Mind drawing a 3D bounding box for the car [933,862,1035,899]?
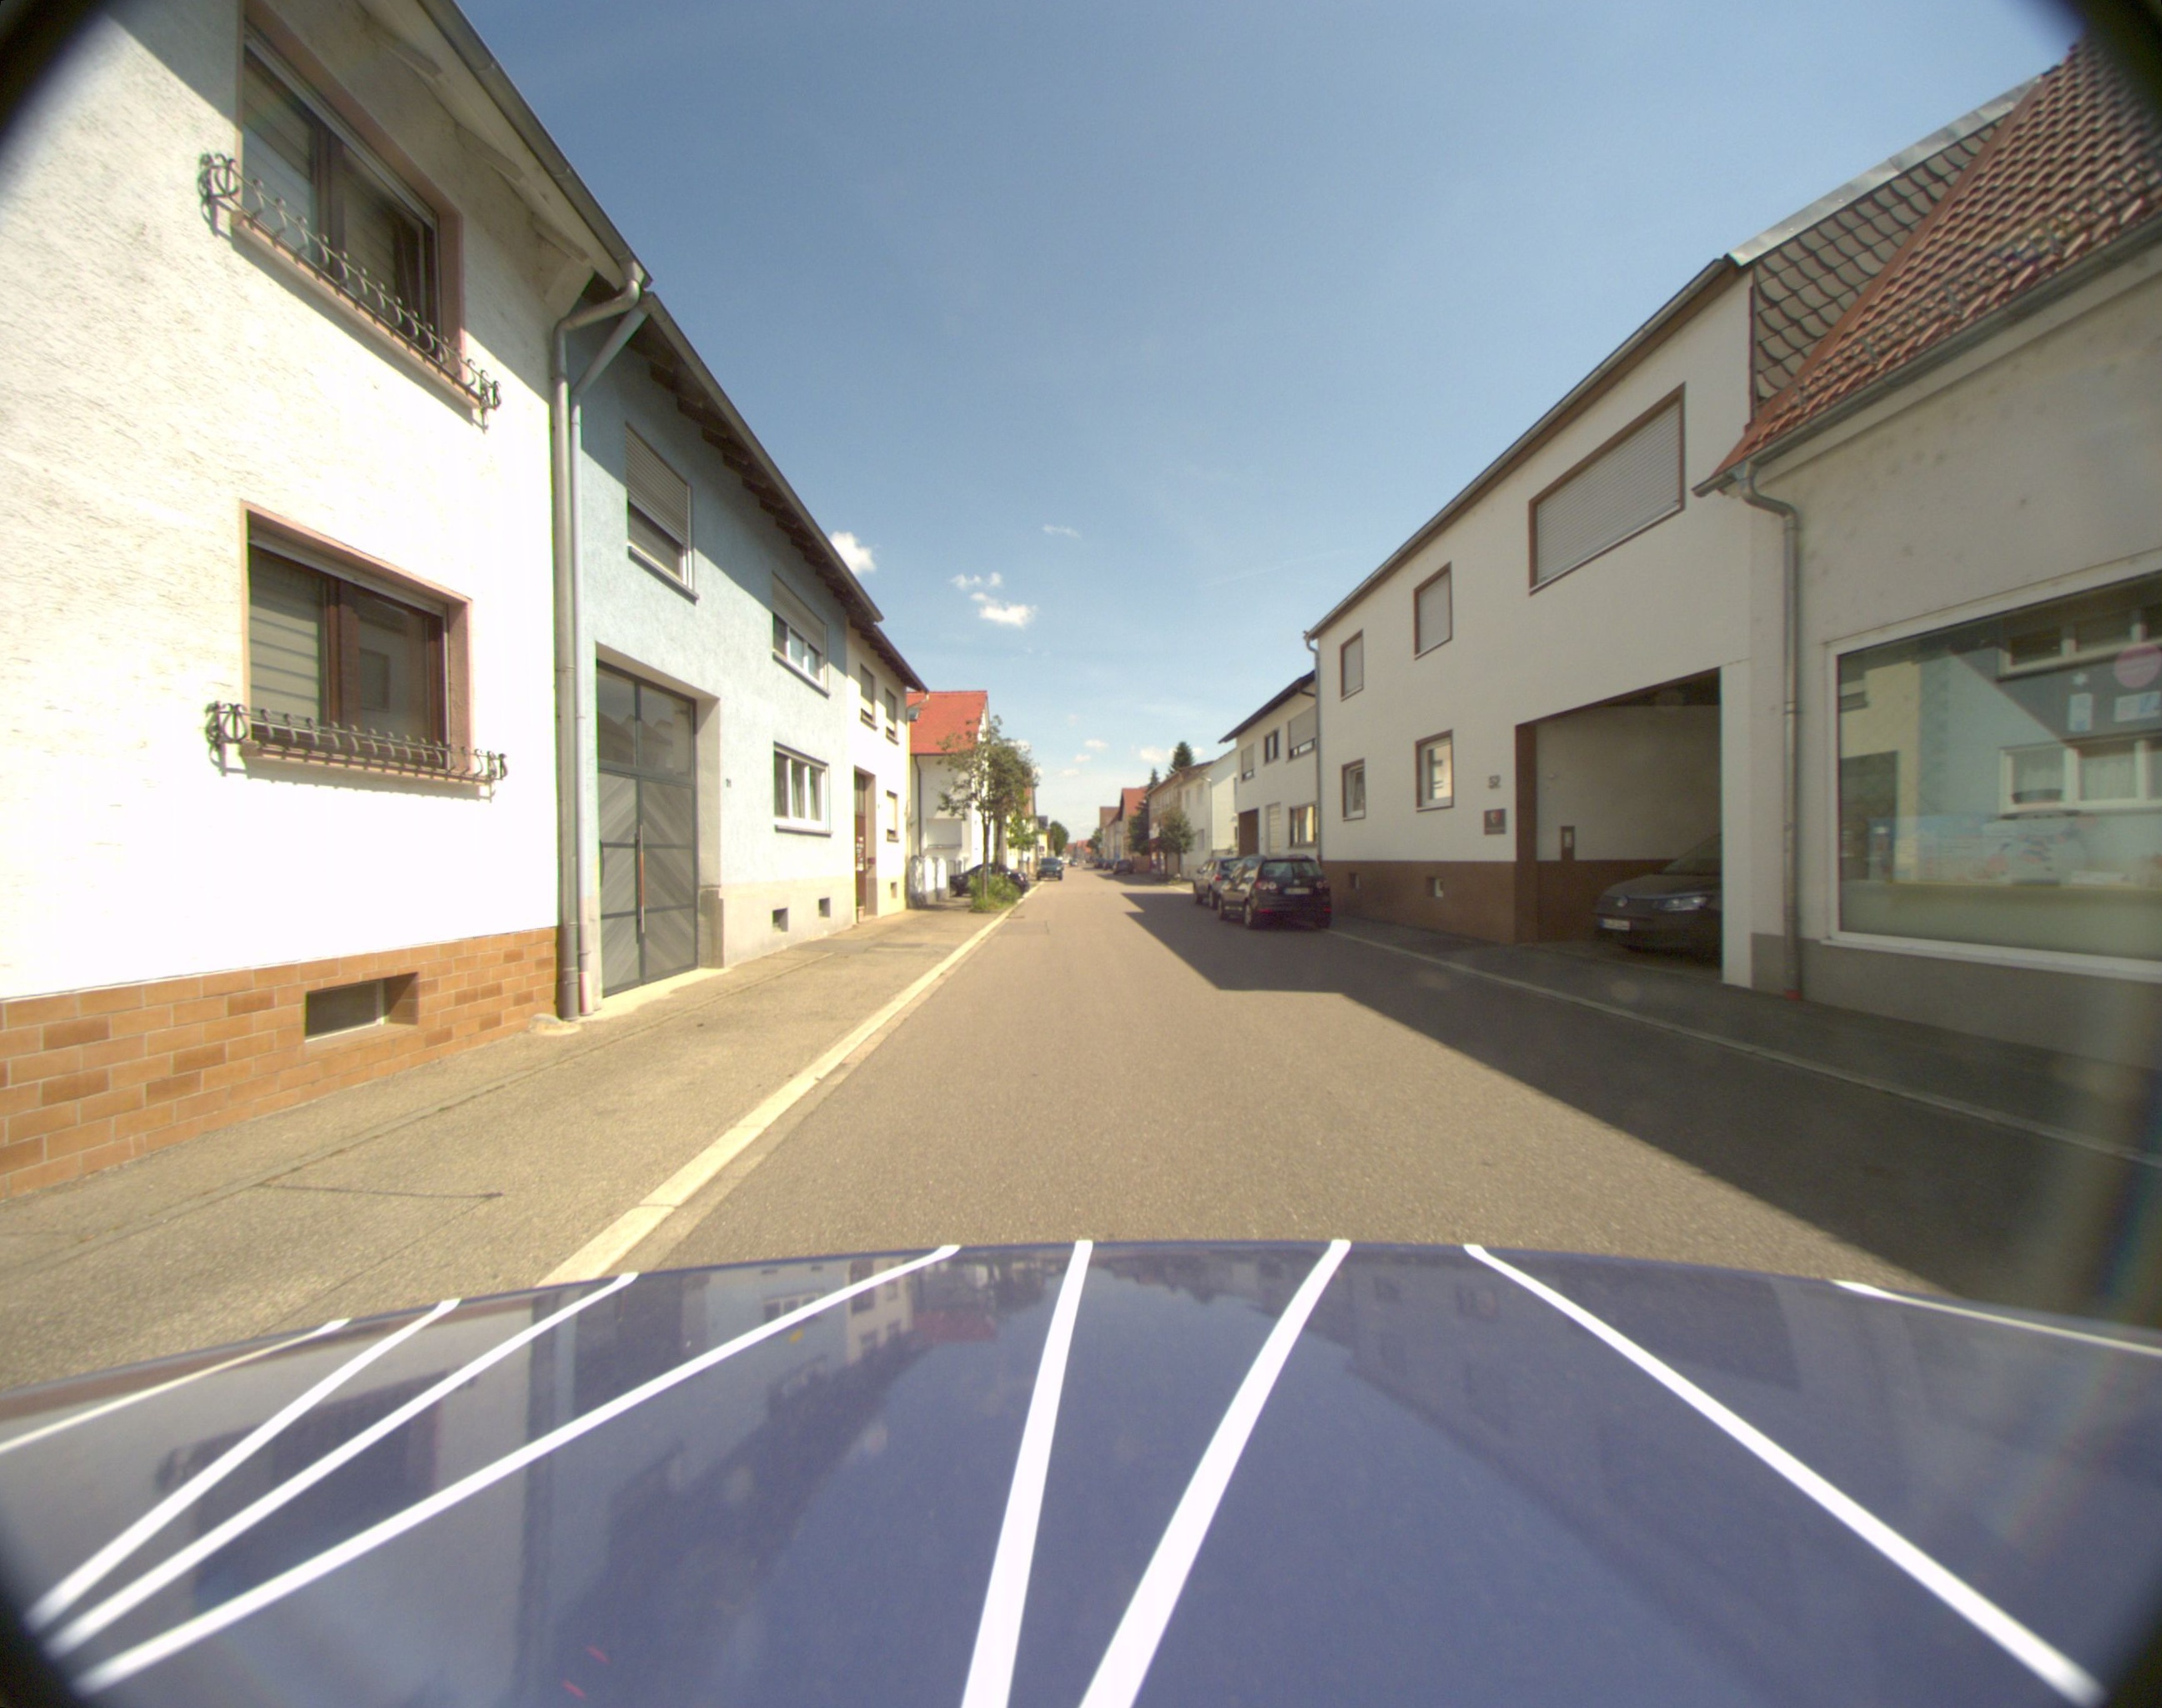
[{"bbox_3d":[-3.856,1.056,30.562,3.814,1.420,1.728,-1,0,3],"label":"car"}]

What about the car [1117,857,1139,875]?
[{"bbox_3d":[4.535,1.147,73.223,1.852,1.688,4.000,-1,0,0],"label":"car"}]

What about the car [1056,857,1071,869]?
[{"bbox_3d":[-2.462,1.235,104.912,1.958,1.521,4.000,0,0,0],"label":"car"}]

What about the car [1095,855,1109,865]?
[{"bbox_3d":[3.229,0.932,118.226,1.999,1.570,4.000,-1,0,-1],"label":"car"}]

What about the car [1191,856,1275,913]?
[{"bbox_3d":[4.663,0.885,23.839,1.758,1.608,4.120,-1,0,-1],"label":"car"}]

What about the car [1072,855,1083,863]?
[{"bbox_3d":[-0.678,0.895,140.381,1.958,1.521,4.000,0,0,0],"label":"car"}]

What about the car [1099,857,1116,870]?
[{"bbox_3d":[3.264,1.169,94.454,1.855,1.543,3.999,-1,0,-3],"label":"car"}]

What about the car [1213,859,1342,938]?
[{"bbox_3d":[4.282,0.899,17.187,1.752,1.557,3.954,-1,0,-2],"label":"car"}]

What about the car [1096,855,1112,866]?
[{"bbox_3d":[3.421,0.990,112.334,1.999,1.570,3.999,-1,0,-3],"label":"car"}]

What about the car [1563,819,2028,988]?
[{"bbox_3d":[8.608,0.563,9.449,3.997,1.708,1.814,-3,0,1],"label":"car"}]

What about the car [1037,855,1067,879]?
[{"bbox_3d":[-2.078,0.902,55.501,1.998,1.696,4.000,0,0,1],"label":"car"}]

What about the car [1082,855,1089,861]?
[{"bbox_3d":[1.332,1.231,223.318,1.904,1.682,4.000,-2,0,1],"label":"car"}]
